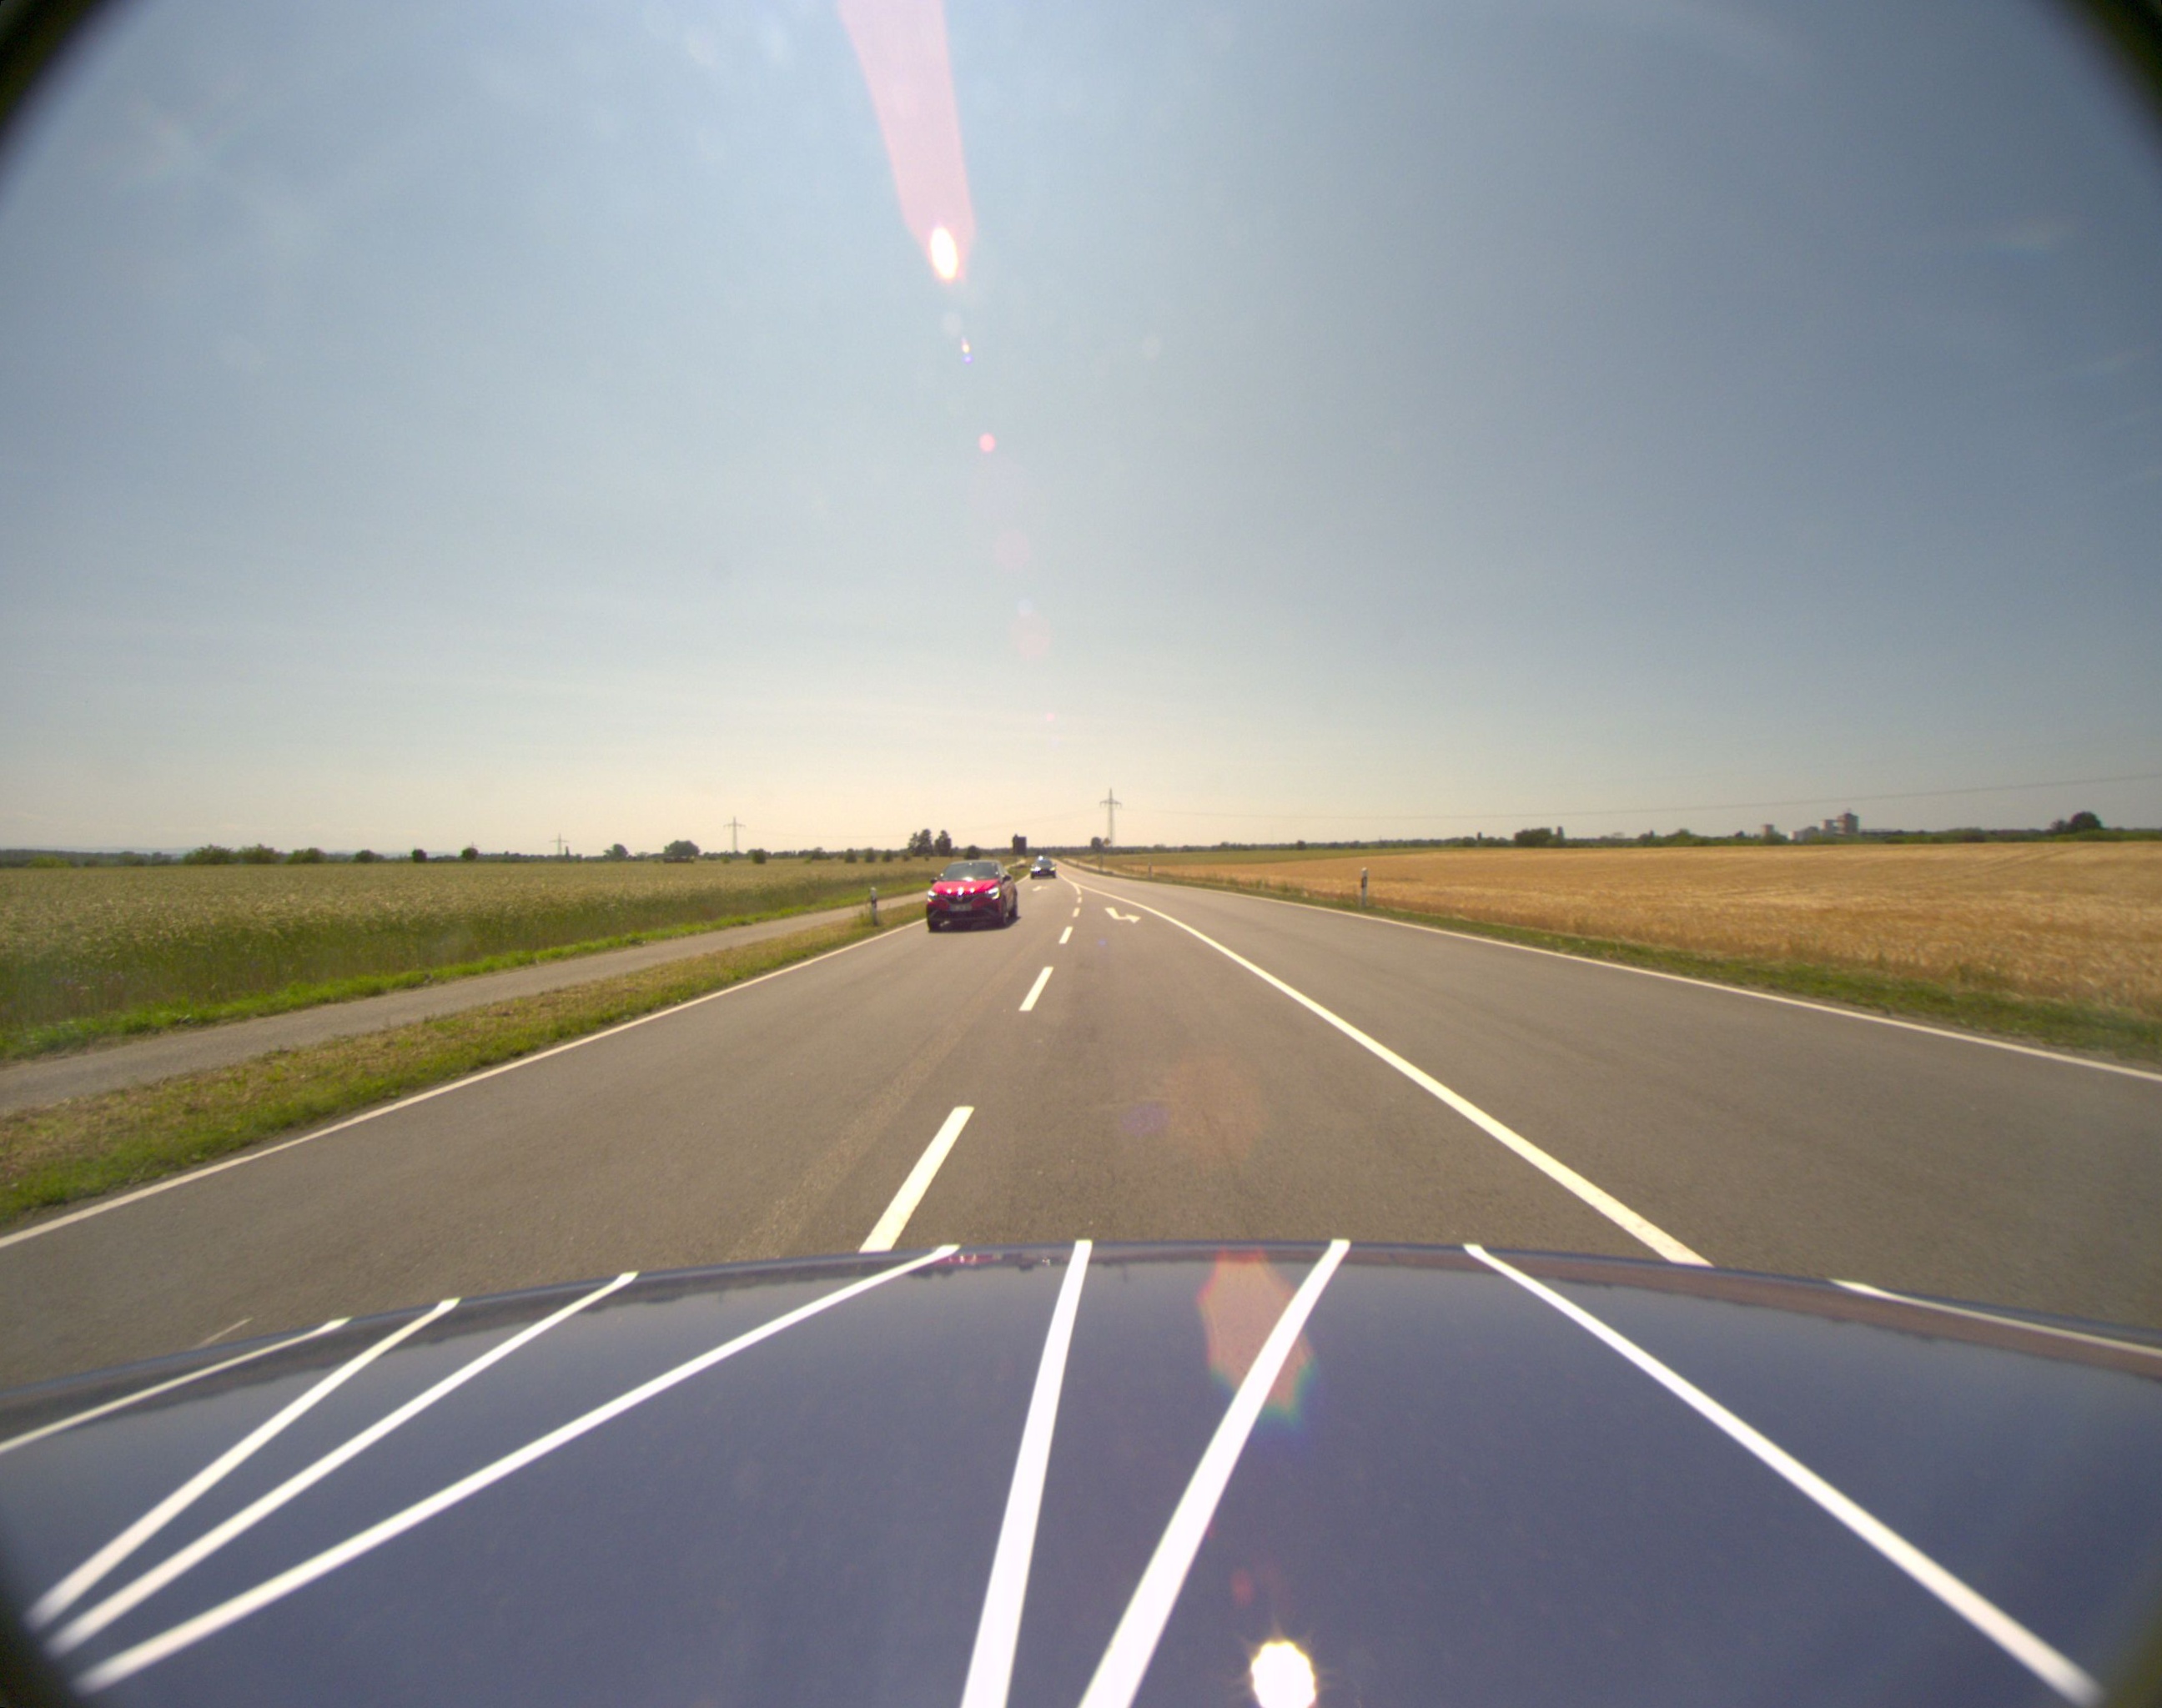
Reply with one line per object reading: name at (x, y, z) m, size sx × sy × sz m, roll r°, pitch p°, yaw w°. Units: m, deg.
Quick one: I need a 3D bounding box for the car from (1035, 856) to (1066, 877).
car at (-2.301, 0.928, 58.834) m, size 2.189 × 1.458 × 5.013 m, roll -2°, pitch 0°, yaw 0°

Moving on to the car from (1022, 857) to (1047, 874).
car at (-4.427, 1.085, 71.502) m, size 2.190 × 1.458 × 5.011 m, roll -2°, pitch 0°, yaw -4°

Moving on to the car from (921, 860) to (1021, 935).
car at (-2.614, 0.985, 19.142) m, size 1.827 × 1.543 × 4.448 m, roll -2°, pitch 0°, yaw 0°
